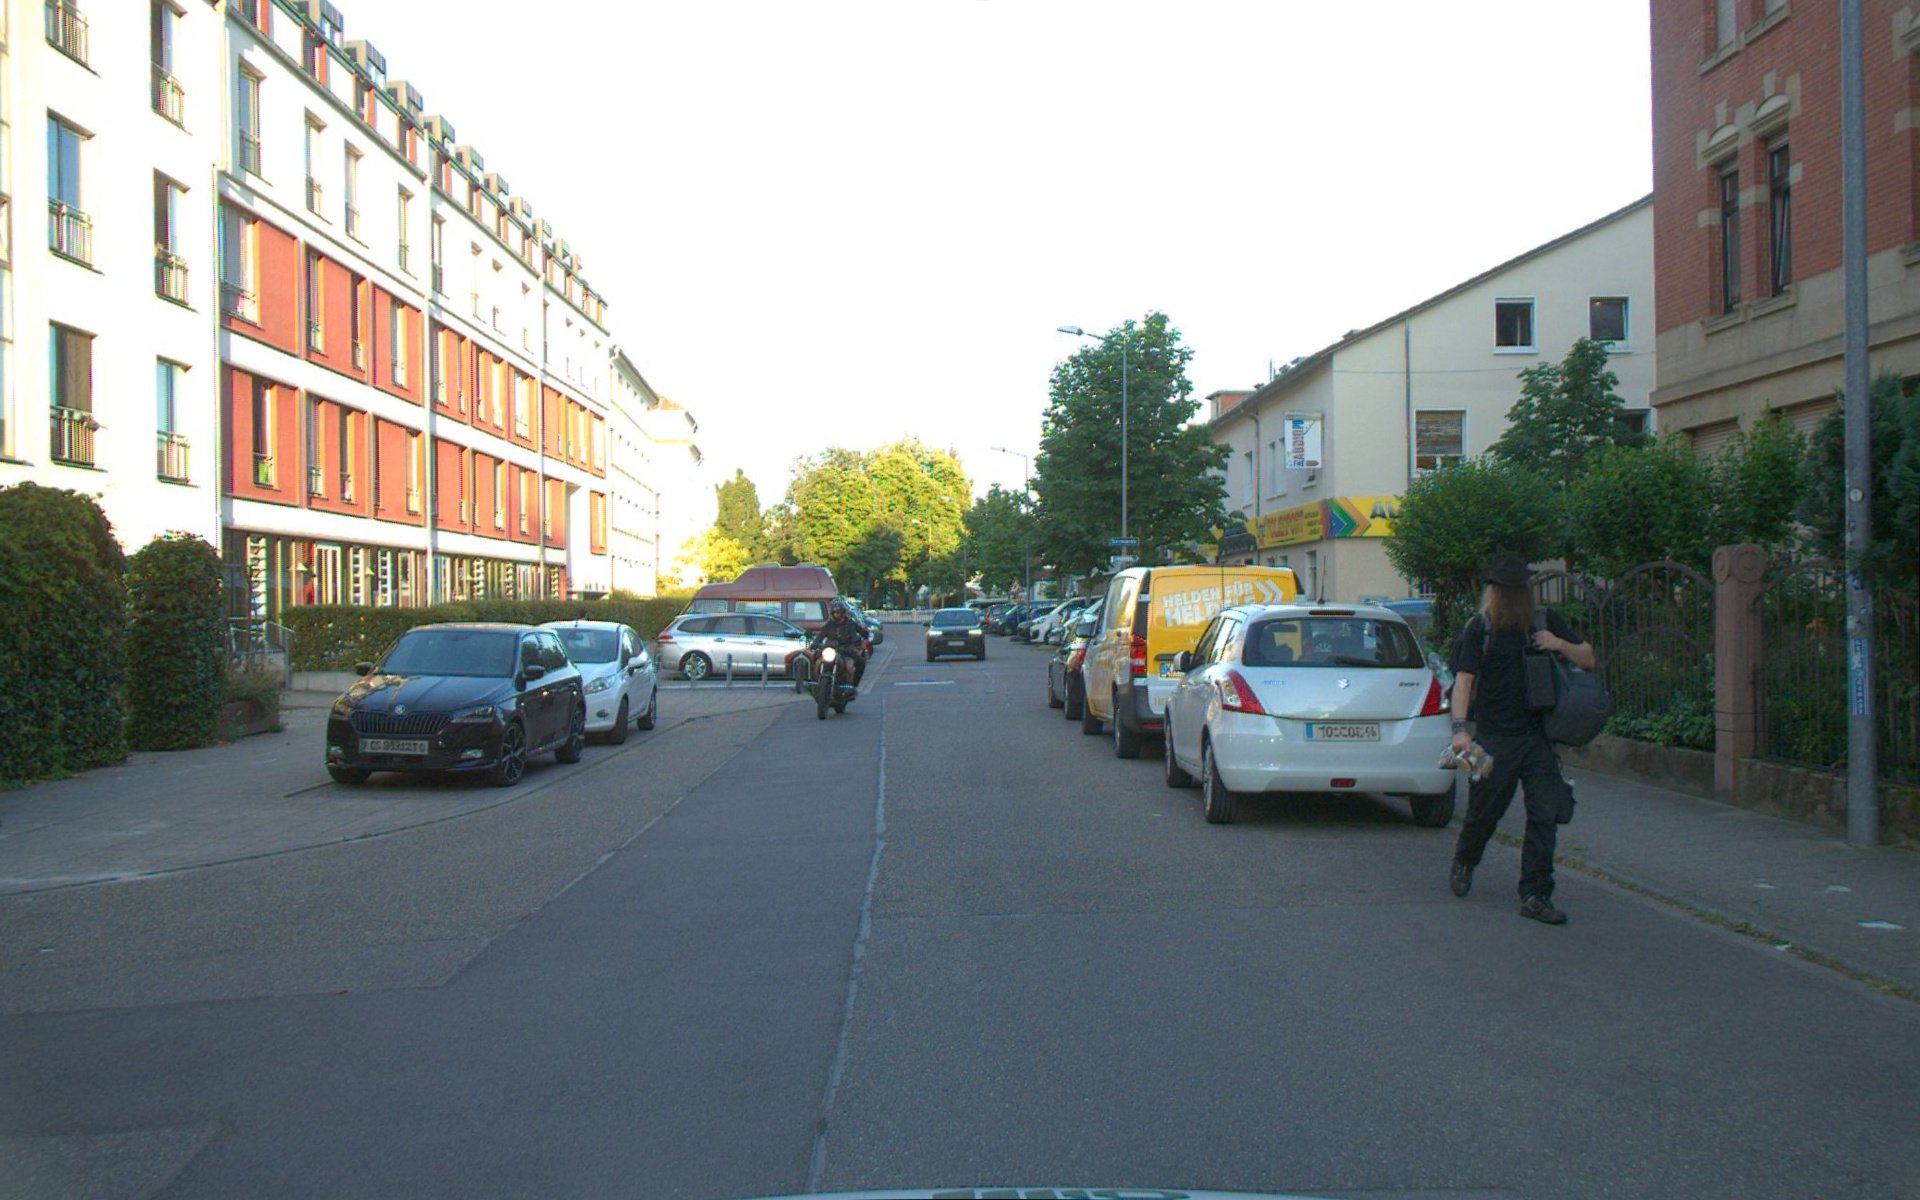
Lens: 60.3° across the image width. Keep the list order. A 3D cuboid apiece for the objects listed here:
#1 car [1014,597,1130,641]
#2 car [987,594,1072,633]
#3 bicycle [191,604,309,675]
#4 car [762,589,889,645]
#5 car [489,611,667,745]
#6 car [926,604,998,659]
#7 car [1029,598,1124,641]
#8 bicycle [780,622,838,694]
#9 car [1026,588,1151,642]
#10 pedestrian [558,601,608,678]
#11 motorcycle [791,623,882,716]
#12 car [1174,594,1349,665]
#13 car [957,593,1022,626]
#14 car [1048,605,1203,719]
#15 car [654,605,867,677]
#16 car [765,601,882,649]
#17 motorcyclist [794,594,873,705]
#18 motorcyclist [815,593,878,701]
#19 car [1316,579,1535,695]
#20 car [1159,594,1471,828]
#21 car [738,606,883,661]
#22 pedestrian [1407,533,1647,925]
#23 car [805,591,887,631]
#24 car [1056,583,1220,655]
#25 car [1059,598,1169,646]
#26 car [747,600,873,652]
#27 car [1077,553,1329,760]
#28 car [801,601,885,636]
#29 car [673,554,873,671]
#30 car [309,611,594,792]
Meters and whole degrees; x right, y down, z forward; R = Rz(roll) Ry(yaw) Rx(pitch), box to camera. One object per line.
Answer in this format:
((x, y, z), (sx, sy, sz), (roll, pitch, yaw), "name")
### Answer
((4.915, 0.827, 72.882), (4.845, 1.718, 2.076), (-2, 0, -3), "car")
((3.759, 0.742, 90.342), (4.393, 1.945, 1.685), (-2, 0, -6), "car")
((-12.095, 0.671, 28.198), (1.739, 1.168, 0.610), (1, 0, 1), "bicycle")
((-5.157, 0.659, 64.034), (4.752, 2.056, 1.906), (1, 0, -1), "car")
((-4.866, 0.933, 21.548), (1.618, 1.557, 4.014), (0, 0, -4), "car")
((0.104, 0.909, 49.785), (1.742, 1.544, 4.002), (-2, 0, 5), "car")
((5.442, 0.921, 77.797), (4.231, 1.835, 1.810), (-2, 0, -3), "car")
((-2.832, 1.066, 31.218), (0.791, 1.243, 2.865), (1, 0, 0), "bicycle")
((5.258, 0.609, 67.995), (4.845, 1.992, 2.048), (-2, 0, -3), "car")
((-7.628, 0.796, 33.492), (0.815, 1.527, 0.798), (1, 0, -1), "pedestrian")
((-1.788, 0.990, 24.260), (0.828, 1.230, 2.076), (-3, -1, 9), "motorcycle")
((7.373, 0.710, 40.677), (3.968, 1.540, 1.756), (-2, 1, 0), "car")
((1.889, 0.589, 105.904), (3.892, 1.945, 2.047), (-2, 0, -6), "car")
((2.259, 0.815, 23.524), (1.686, 1.449, 4.252), (1, 0, -1), "car")
((-4.343, 0.892, 36.489), (4.525, 1.486, 1.879), (1, 0, -5), "car")
((-5.040, 0.933, 61.478), (4.170, 1.681, 1.887), (1, 0, -1), "car")
((-1.830, 0.704, 24.011), (0.870, 1.531, 0.970), (-3, -1, 9), "motorcyclist")
((-1.700, 0.702, 24.787), (0.770, 1.567, 0.546), (-3, -1, 8), "motorcyclist")
((6.505, 0.486, 23.618), (1.691, 1.449, 4.421), (-2, 0, -2), "car")
((2.522, 0.721, 12.595), (1.640, 1.503, 3.862), (0, 0, 1), "car")
((-4.414, 0.986, 49.241), (4.123, 1.516, 1.849), (1, 0, -1), "car")
((2.691, 0.579, 7.953), (0.869, 1.752, 0.959), (1, 0, 5), "pedestrian")
((-6.329, 0.614, 92.516), (4.441, 2.171, 1.999), (1, 0, -1), "car")
((5.628, 0.601, 52.790), (4.888, 2.018, 2.219), (-2, 0, -1), "car")
((5.626, 0.798, 60.867), (3.832, 1.552, 1.939), (-2, 0, 0), "car")
((-5.140, 0.885, 57.121), (4.170, 1.689, 2.000), (1, 0, -1), "car")
((2.441, 0.534, 17.890), (1.855, 1.917, 5.080), (0, 0, -2), "car")
((-5.998, 0.949, 85.111), (4.170, 1.745, 2.000), (1, 0, -1), "car")
((-4.356, 0.290, 39.071), (4.418, 2.629, 2.000), (1, 0, 0), "car")
((-4.845, 0.891, 16.306), (1.669, 1.561, 3.843), (0, 0, -1), "car")
